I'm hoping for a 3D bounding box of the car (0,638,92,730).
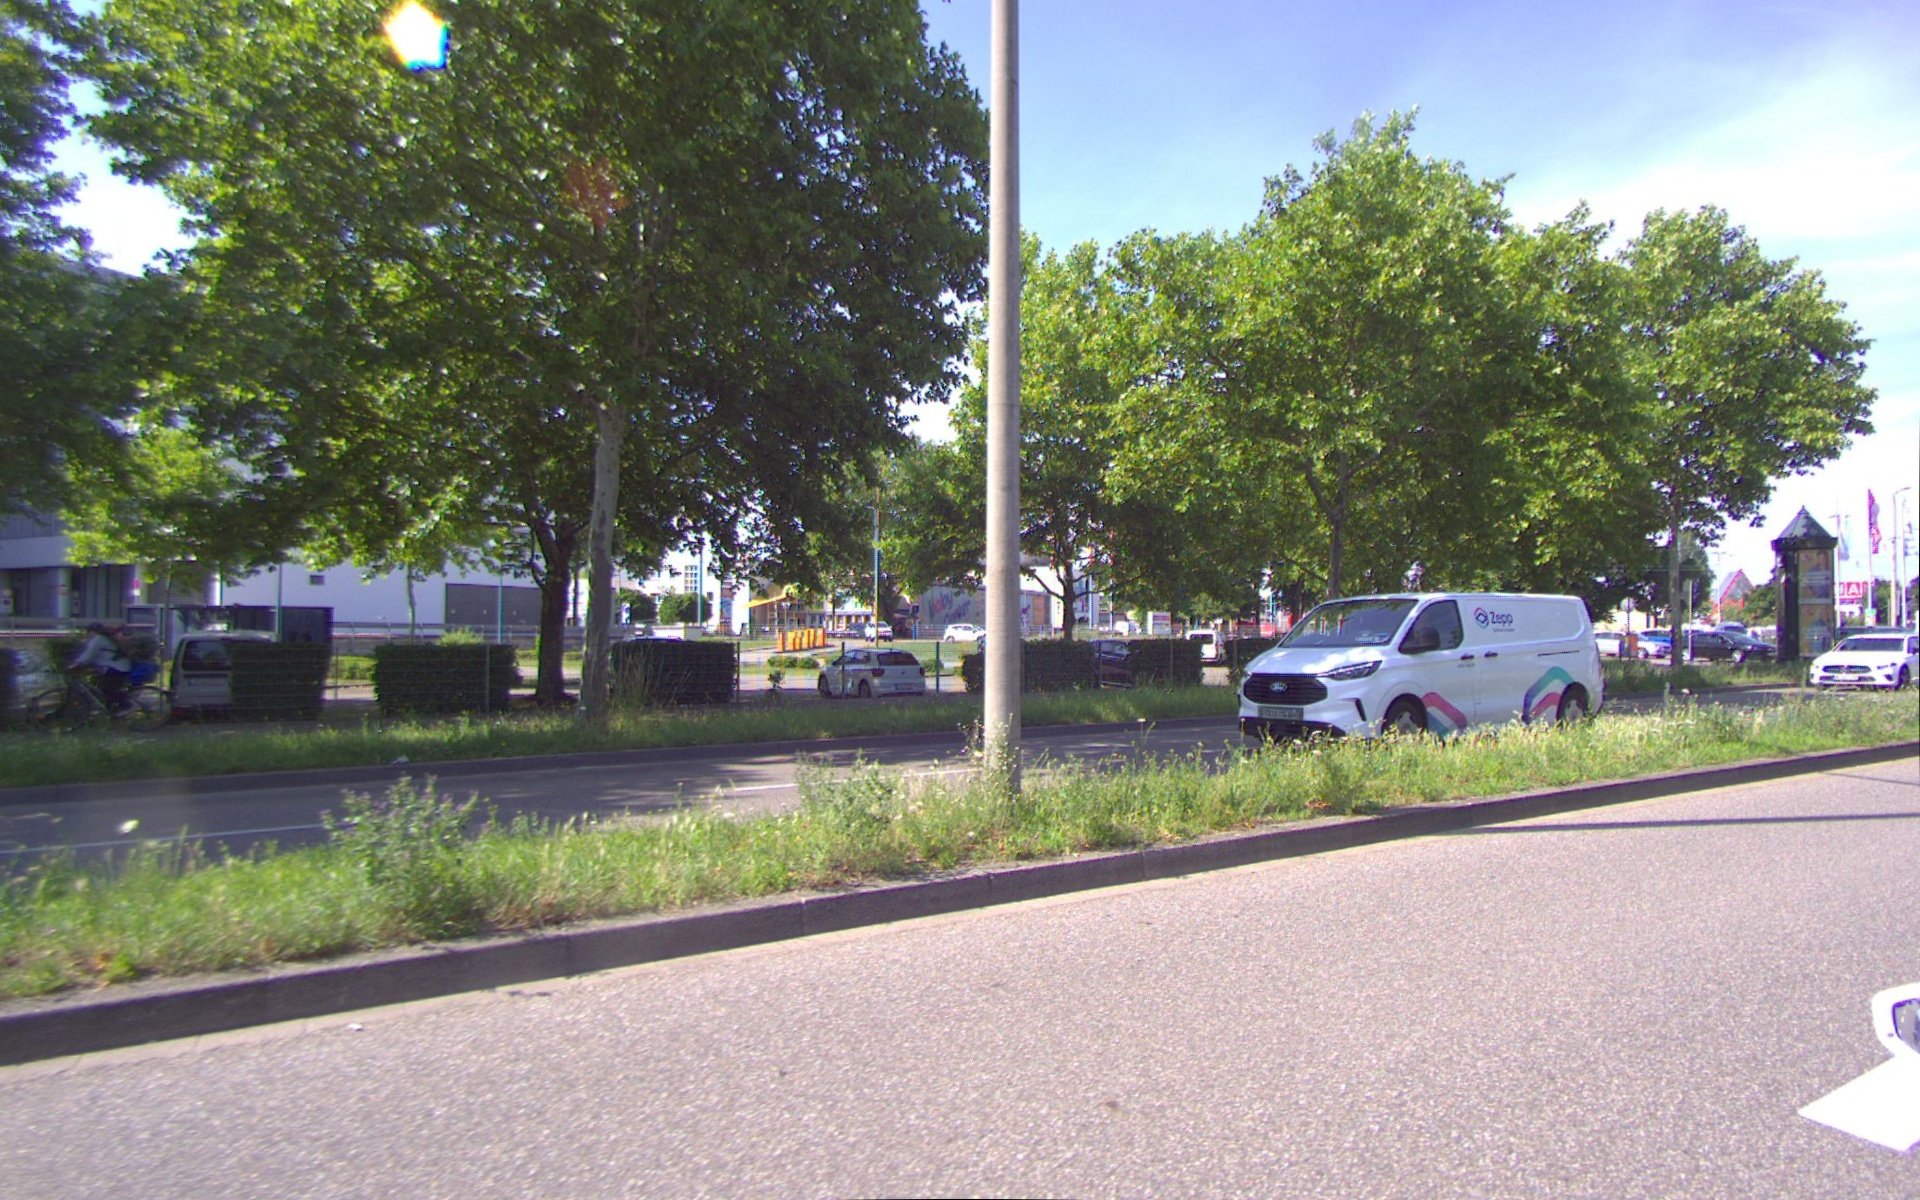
[{"bbox_3d":[-17.009,1.423,17.699,1.751,1.483,3.970,1,-2,-29],"label":"car"}]

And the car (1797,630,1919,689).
[{"bbox_3d":[23.722,1.512,26.020,4.308,1.416,1.779,2,-3,-31],"label":"car"}]

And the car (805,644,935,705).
[{"bbox_3d":[-2.539,1.988,27.495,1.787,1.432,3.961,3,-2,-35],"label":"car"}]

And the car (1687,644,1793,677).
[{"bbox_3d":[36.663,2.819,47.337,1.731,1.407,3.999,-1,-1,-3],"label":"car"}]

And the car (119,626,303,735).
[{"bbox_3d":[-14.555,1.483,19.801,2.128,1.847,3.974,2,-1,-26],"label":"car"}]

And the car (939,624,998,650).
[{"bbox_3d":[0.640,2.745,74.658,3.925,1.795,1.845,-2,0,25],"label":"car"}]

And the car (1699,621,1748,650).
[{"bbox_3d":[69.680,3.198,91.757,1.960,2.566,4.642,-1,-2,16],"label":"car"}]

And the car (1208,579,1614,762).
[{"bbox_3d":[5.857,0.813,12.826,5.358,1.908,2.106,1,-2,-32],"label":"car"}]

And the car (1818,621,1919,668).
[{"bbox_3d":[36.597,1.734,39.539,1.832,1.773,4.400,0,-2,0],"label":"car"}]

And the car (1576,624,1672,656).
[{"bbox_3d":[35.247,2.141,53.448,1.695,1.624,4.148,1,-2,-18],"label":"car"}]

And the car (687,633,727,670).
[{"bbox_3d":[-12.342,2.481,49.119,1.774,1.524,3.989,-2,0,-14],"label":"car"}]

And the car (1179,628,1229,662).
[{"bbox_3d":[12.707,2.301,52.063,1.961,1.687,4.845,-1,-2,21],"label":"car"}]

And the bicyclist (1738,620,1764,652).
[{"bbox_3d":[41.974,1.912,53.290,0.883,1.668,0.787,-1,0,24],"label":"bicyclist"}]

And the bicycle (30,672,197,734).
[{"bbox_3d":[-13.301,1.598,15.861,1.904,0.877,0.686,1,-2,-31],"label":"bicycle"}]

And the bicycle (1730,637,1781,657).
[{"bbox_3d":[42.131,2.487,53.220,1.972,1.053,0.744,-1,0,24],"label":"bicycle"}]

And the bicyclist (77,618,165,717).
[{"bbox_3d":[-13.259,1.053,15.904,0.931,1.504,0.678,1,-2,-30],"label":"bicyclist"}]

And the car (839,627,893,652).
[{"bbox_3d":[-7.561,3.169,81.196,3.925,1.929,1.845,-1,0,25],"label":"car"}]
